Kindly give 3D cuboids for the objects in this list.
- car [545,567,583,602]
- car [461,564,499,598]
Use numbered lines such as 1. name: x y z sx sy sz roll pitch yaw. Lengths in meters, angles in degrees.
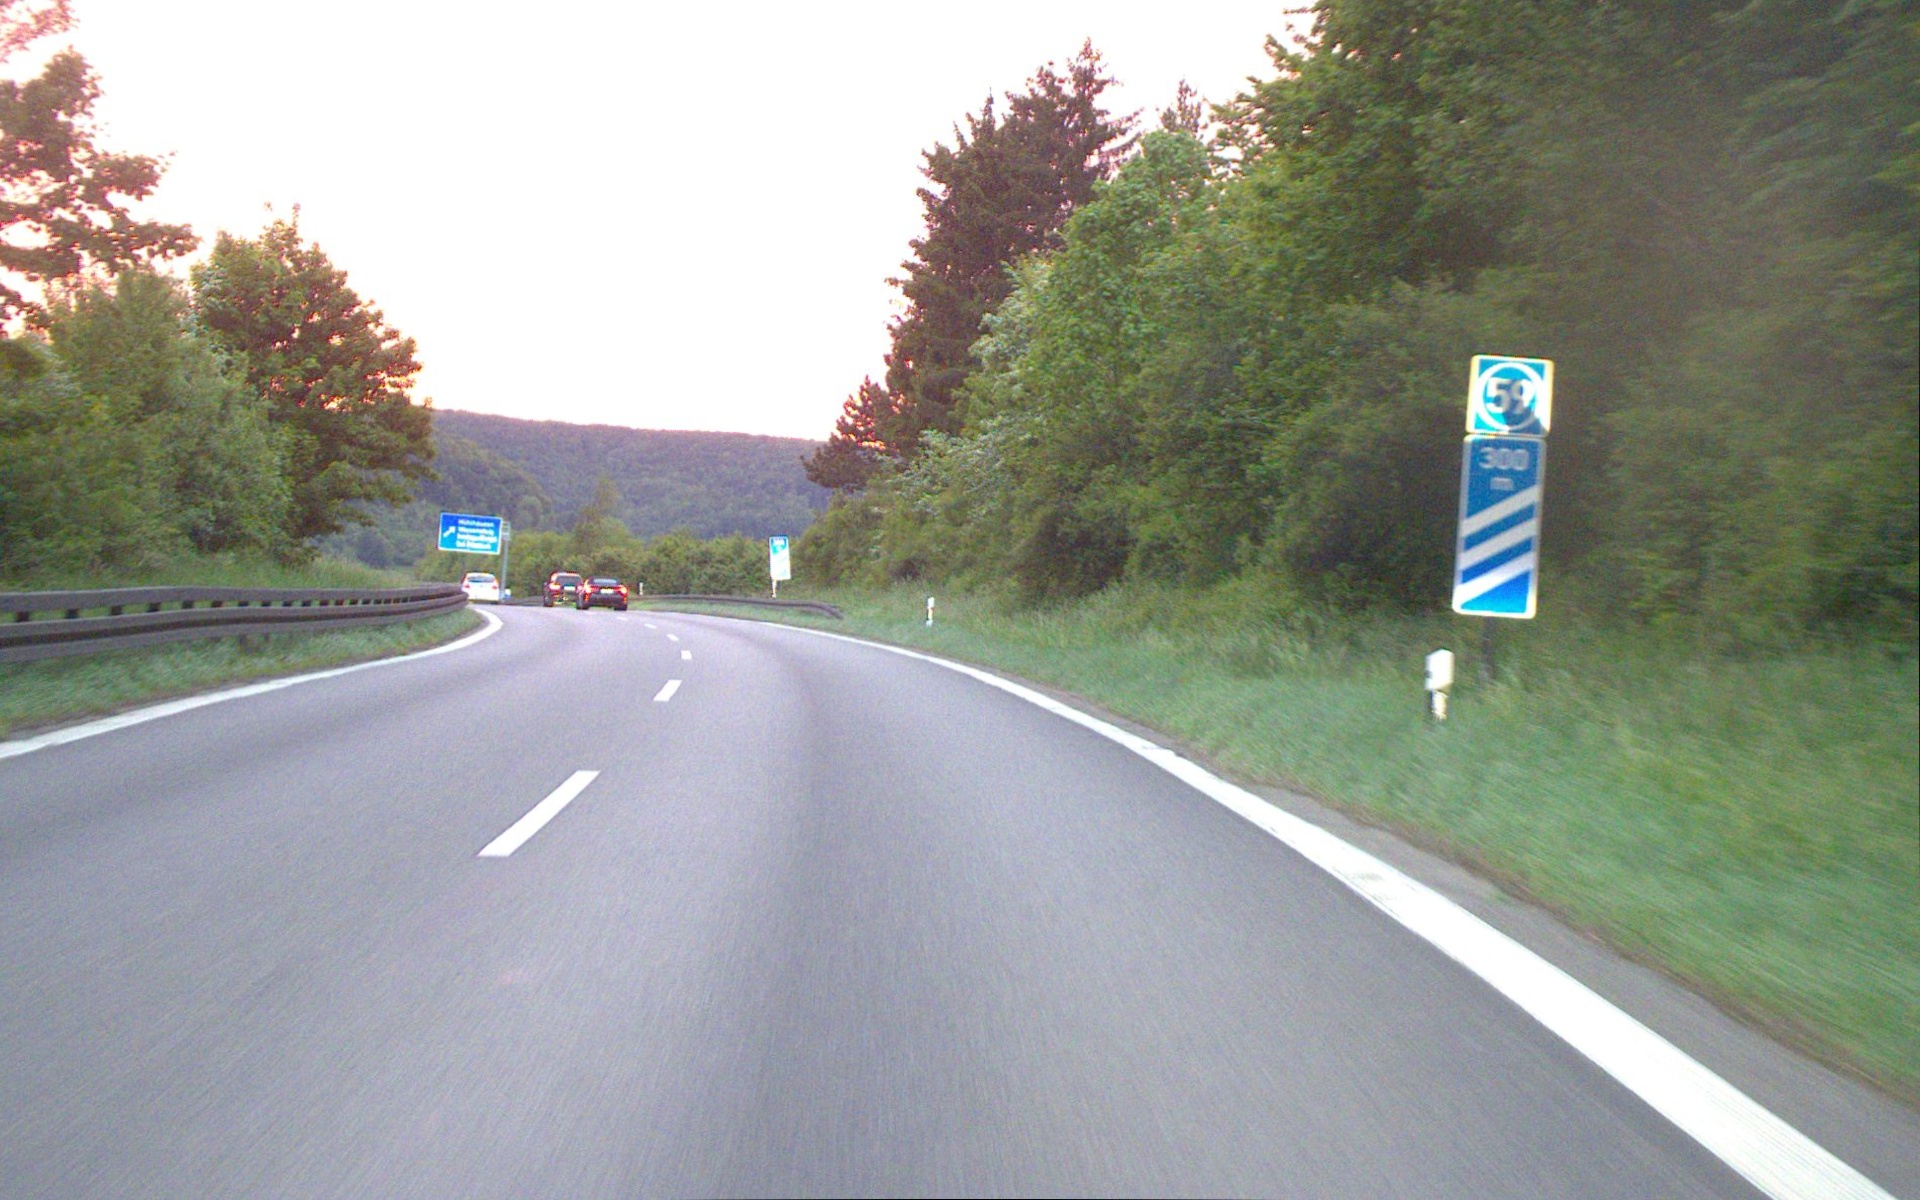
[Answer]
1. car: -19.069 -0.748 165.431 1.718 1.629 4.001 0 0 -8
2. car: -22.727 -0.892 162.878 1.718 1.496 4.001 2 -1 -7
